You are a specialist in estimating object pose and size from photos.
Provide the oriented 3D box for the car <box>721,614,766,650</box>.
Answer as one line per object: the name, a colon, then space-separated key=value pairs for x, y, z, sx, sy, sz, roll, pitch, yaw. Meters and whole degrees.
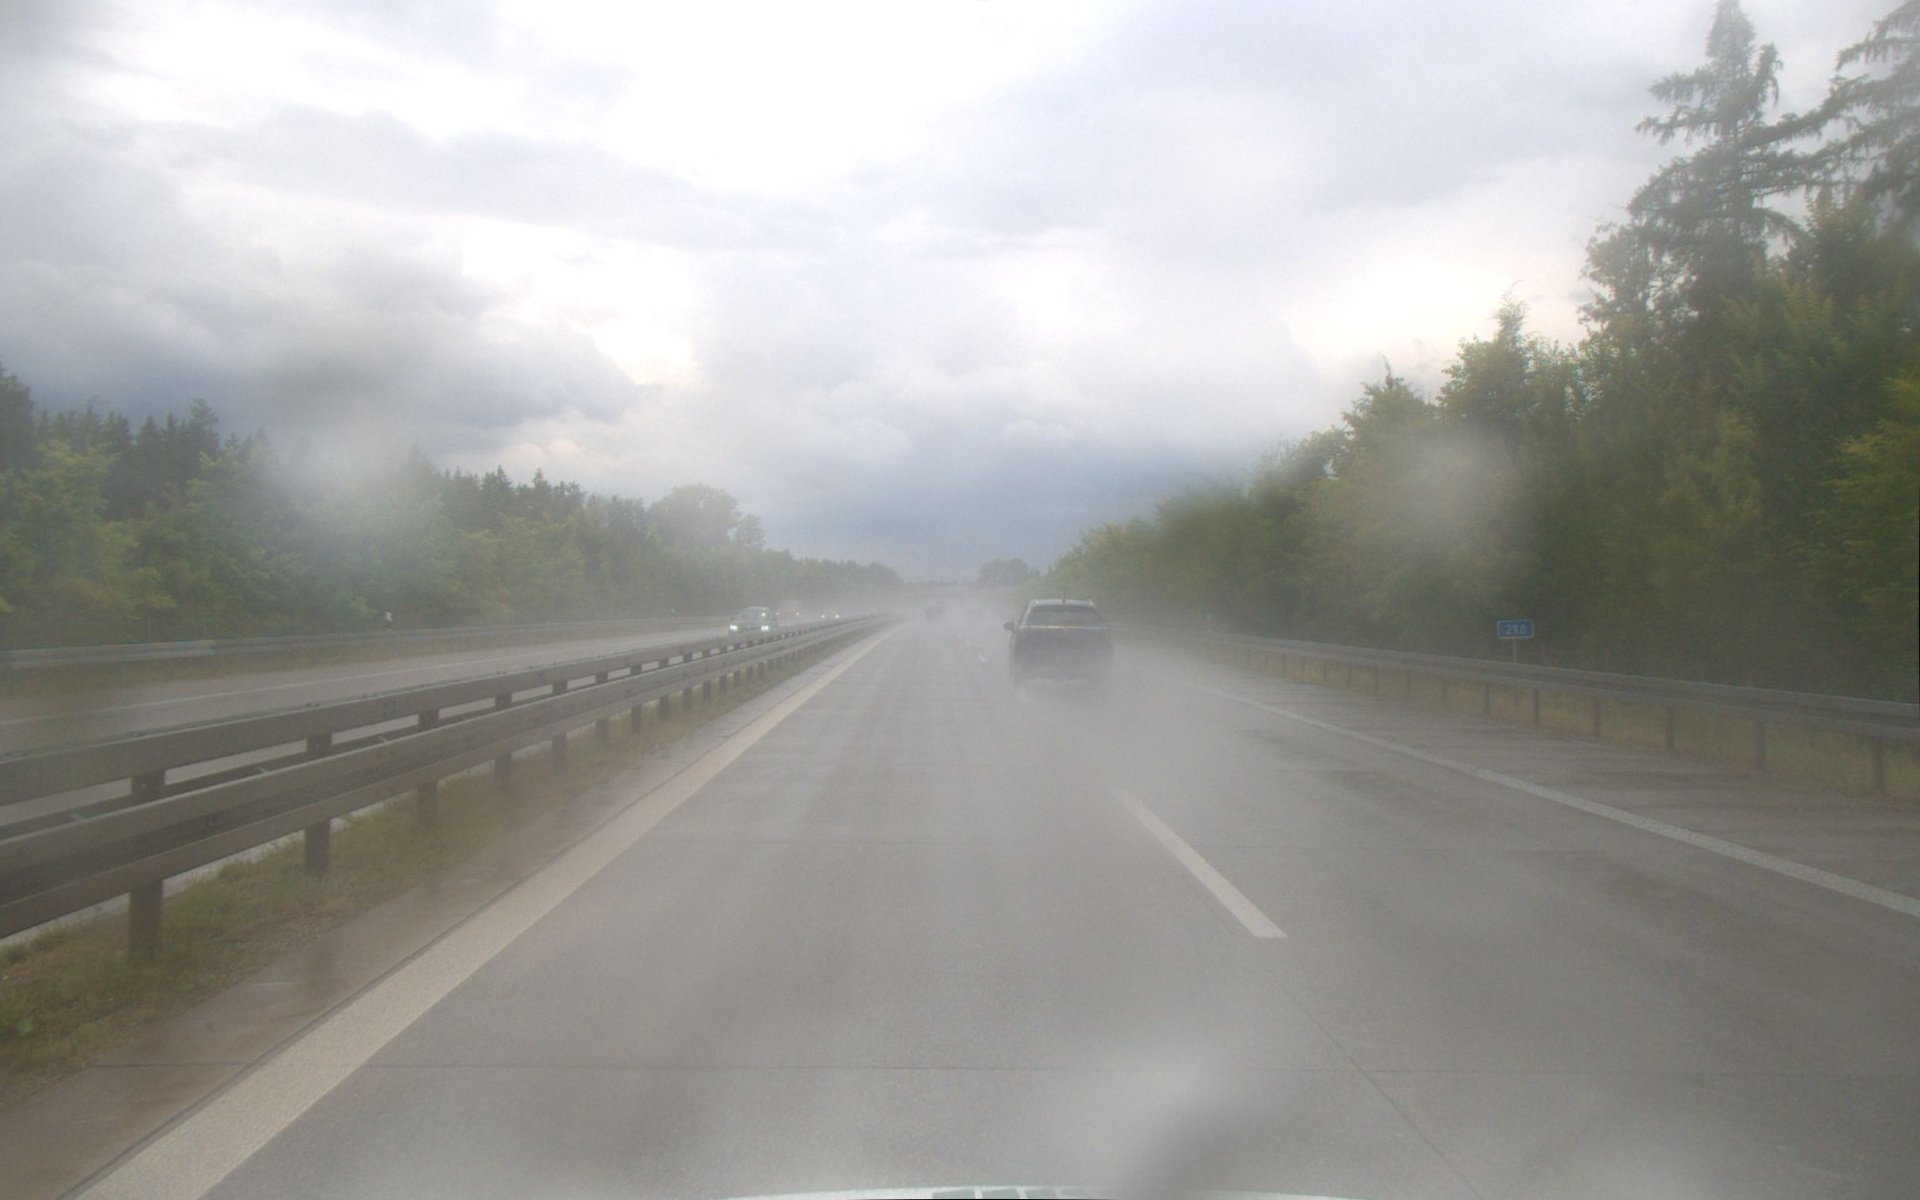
car: x=-9.177 y=1.342 z=70.347 sx=1.489 sy=1.428 sz=3.929 roll=-1 pitch=0 yaw=-2

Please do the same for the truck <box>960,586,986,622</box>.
truck: x=1.682 y=0.594 z=211.390 sx=3.176 sy=4.515 sz=8.247 roll=0 pitch=-1 yaw=2

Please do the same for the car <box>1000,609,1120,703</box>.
car: x=1.779 y=1.013 z=30.451 sx=1.856 sy=1.604 sz=3.630 roll=1 pitch=-1 yaw=-2
